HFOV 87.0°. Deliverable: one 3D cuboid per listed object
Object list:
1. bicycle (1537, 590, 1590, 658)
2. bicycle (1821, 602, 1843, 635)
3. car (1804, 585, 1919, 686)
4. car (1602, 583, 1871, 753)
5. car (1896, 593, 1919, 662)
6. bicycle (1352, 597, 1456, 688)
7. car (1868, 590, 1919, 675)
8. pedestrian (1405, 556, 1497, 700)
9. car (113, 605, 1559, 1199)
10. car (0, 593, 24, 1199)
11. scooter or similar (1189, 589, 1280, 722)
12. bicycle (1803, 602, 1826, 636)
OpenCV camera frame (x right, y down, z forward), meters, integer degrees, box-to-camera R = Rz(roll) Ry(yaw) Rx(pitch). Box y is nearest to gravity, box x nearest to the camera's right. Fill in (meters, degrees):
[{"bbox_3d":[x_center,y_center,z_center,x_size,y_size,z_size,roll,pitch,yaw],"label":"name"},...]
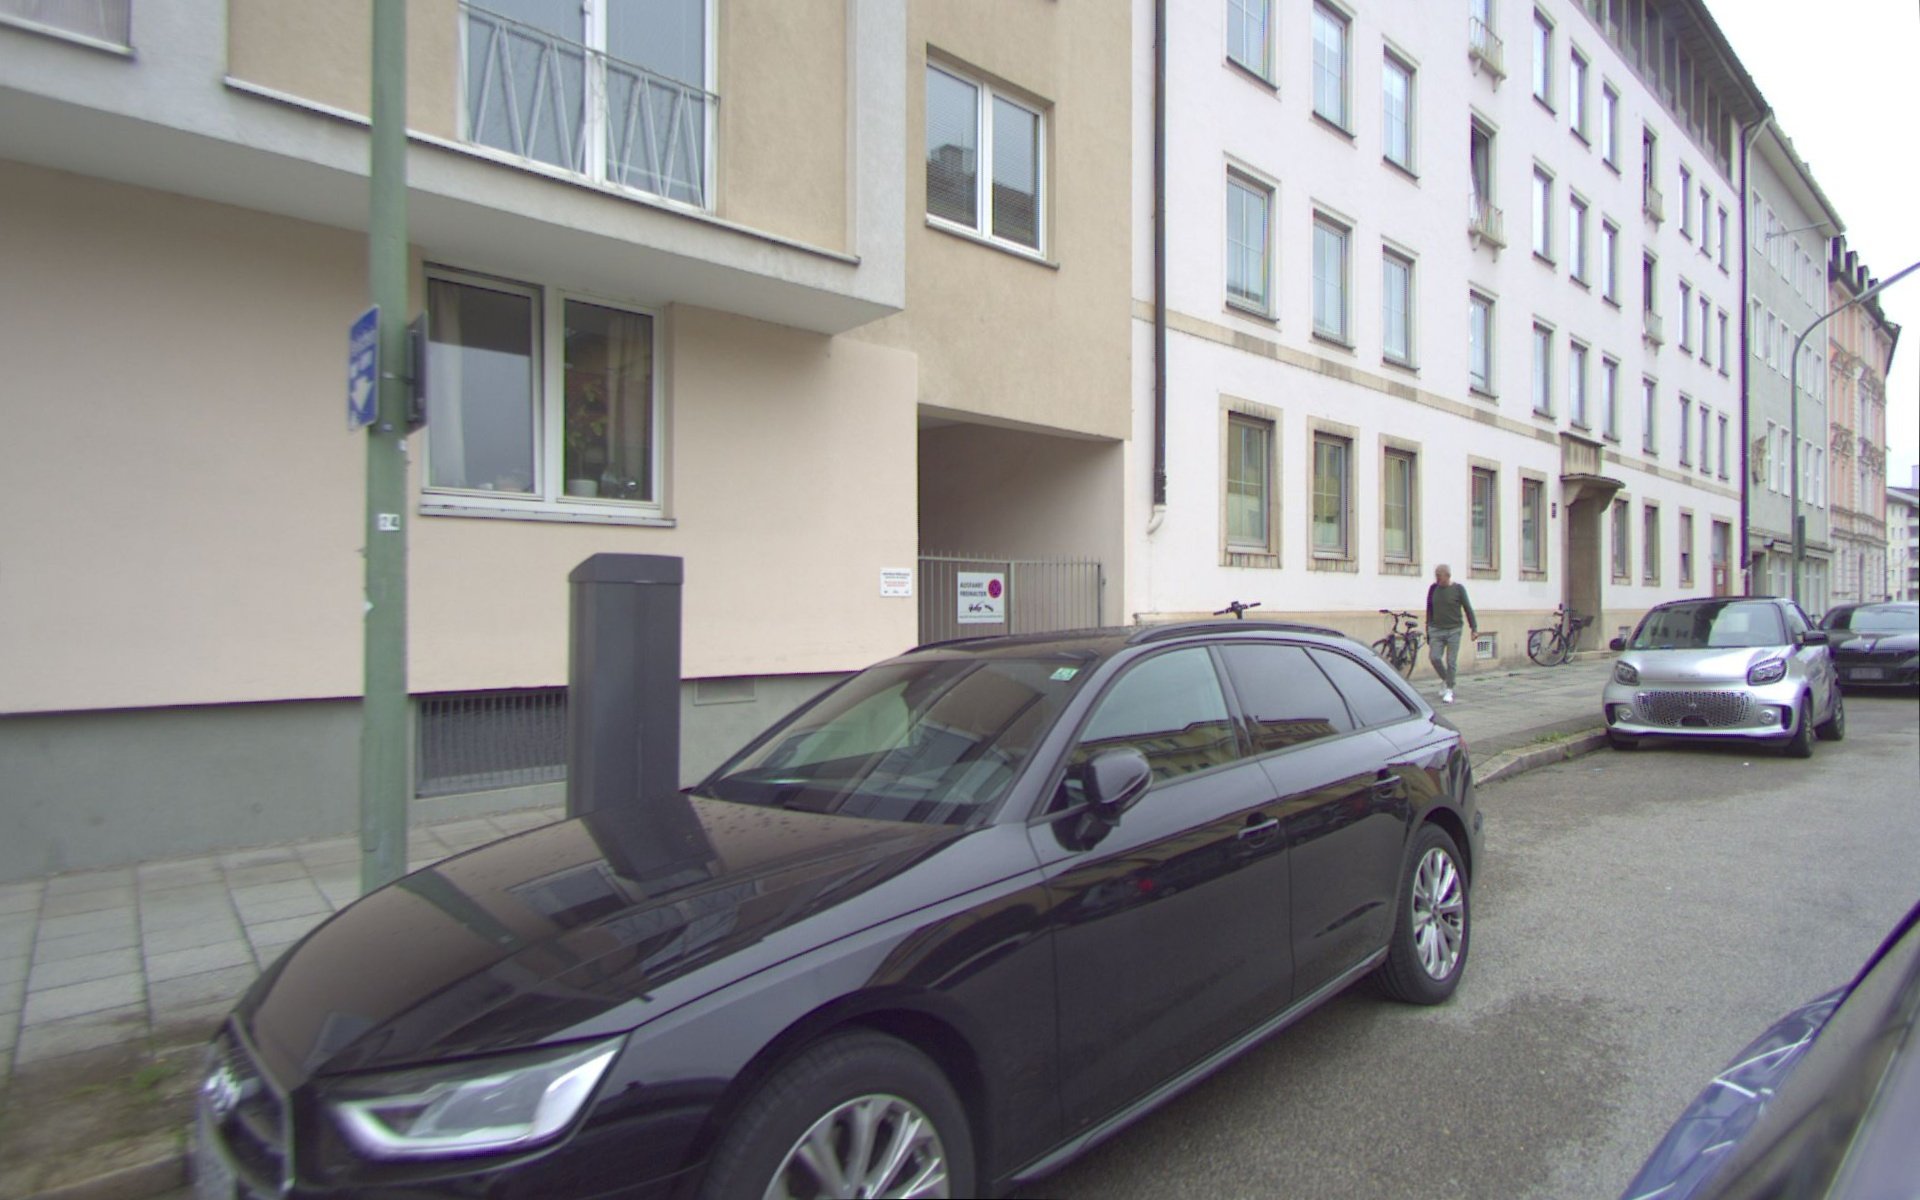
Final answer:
[{"bbox_3d":[11.484,0.440,19.234,0.512,1.238,1.958,0,0,42],"label":"bicycle"},{"bbox_3d":[32.102,0.664,37.258,1.784,1.191,0.396,0,-1,-42],"label":"bicycle"},{"bbox_3d":[15.941,0.534,17.103,5.228,1.504,1.804,0,-3,-42],"label":"car"},{"bbox_3d":[8.176,0.636,10.606,2.831,1.515,1.652,0,-3,-41],"label":"car"},{"bbox_3d":[23.479,0.598,23.590,4.625,1.541,1.843,0,-1,-40],"label":"car"},{"bbox_3d":[6.423,0.576,14.581,2.066,1.233,0.530,0,-1,-41],"label":"bicycle"},{"bbox_3d":[19.868,0.595,20.454,4.553,1.610,1.647,0,-3,-41],"label":"car"},{"bbox_3d":[6.419,0.333,13.238,0.889,1.784,0.724,-1,4,-40],"label":"pedestrian"},{"bbox_3d":[0.300,0.760,3.494,4.871,1.406,1.746,0,-2,-44],"label":"car"},{"bbox_3d":[-3.444,0.782,0.401,4.504,1.508,1.695,0,-2,-44],"label":"car"},{"bbox_3d":[3.195,0.595,11.707,0.438,1.375,1.569,-1,2,37],"label":"scooter or similar"},{"bbox_3d":[30.497,0.662,36.121,1.916,1.172,0.385,0,0,-42],"label":"bicycle"}]
